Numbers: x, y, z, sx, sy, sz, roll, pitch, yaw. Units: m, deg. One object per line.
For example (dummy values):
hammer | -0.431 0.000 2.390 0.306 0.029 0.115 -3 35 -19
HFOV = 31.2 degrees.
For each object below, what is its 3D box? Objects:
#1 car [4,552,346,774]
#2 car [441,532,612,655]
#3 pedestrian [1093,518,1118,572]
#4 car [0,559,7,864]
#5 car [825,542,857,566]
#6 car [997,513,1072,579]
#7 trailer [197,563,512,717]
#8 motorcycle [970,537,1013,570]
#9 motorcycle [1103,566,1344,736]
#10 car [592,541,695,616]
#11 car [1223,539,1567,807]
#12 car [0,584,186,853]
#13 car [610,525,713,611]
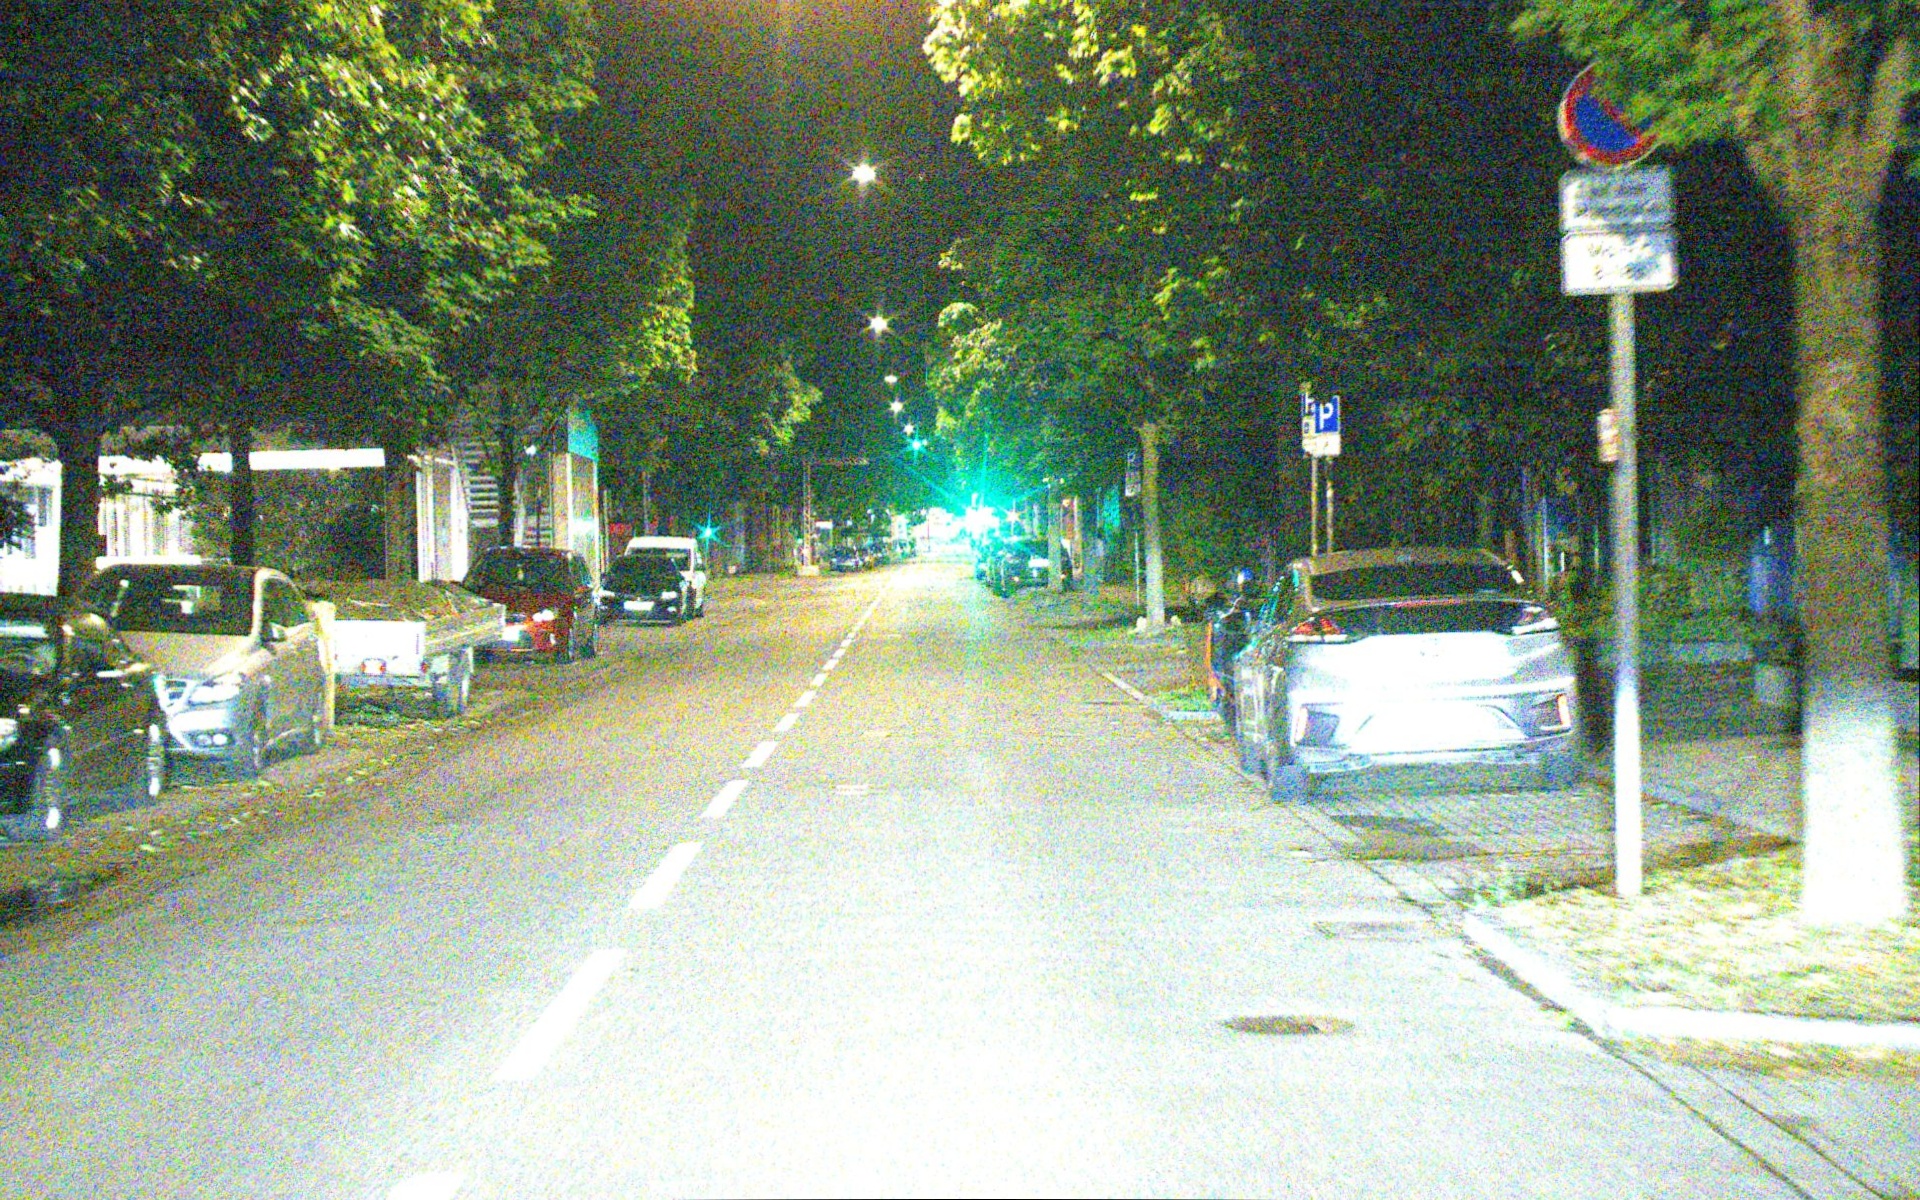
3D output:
car | -5.942 0.419 26.487 1.716 1.496 4.206 2 1 -1
car | -6.155 -0.131 49.244 1.822 1.593 4.073 3 1 1
pedestrian | 4.730 -1.776 111.616 0.705 1.716 0.821 -2 1 0
car | -5.801 0.608 15.909 1.742 1.601 4.299 1 1 -2
car | -6.923 -2.691 199.893 1.740 1.411 3.752 0 1 0
car | 1.975 -1.464 91.844 1.853 1.648 4.209 -3 1 0
trailer | -5.958 0.339 34.532 2.110 1.330 5.435 2 1 1
motorcycle | 1.216 -1.788 133.049 0.637 1.265 2.060 0 1 35
motorcycle | 2.086 0.380 27.597 0.926 1.279 2.235 -2 1 -25
car | -6.520 -0.461 71.147 1.700 1.428 3.828 3 1 0
car | 2.604 0.376 21.414 1.668 1.424 4.148 -3 1 2
car | -6.061 0.633 20.981 1.704 1.407 4.634 0 1 -1
car | -6.696 -0.755 77.379 1.822 1.805 4.210 3 1 1
